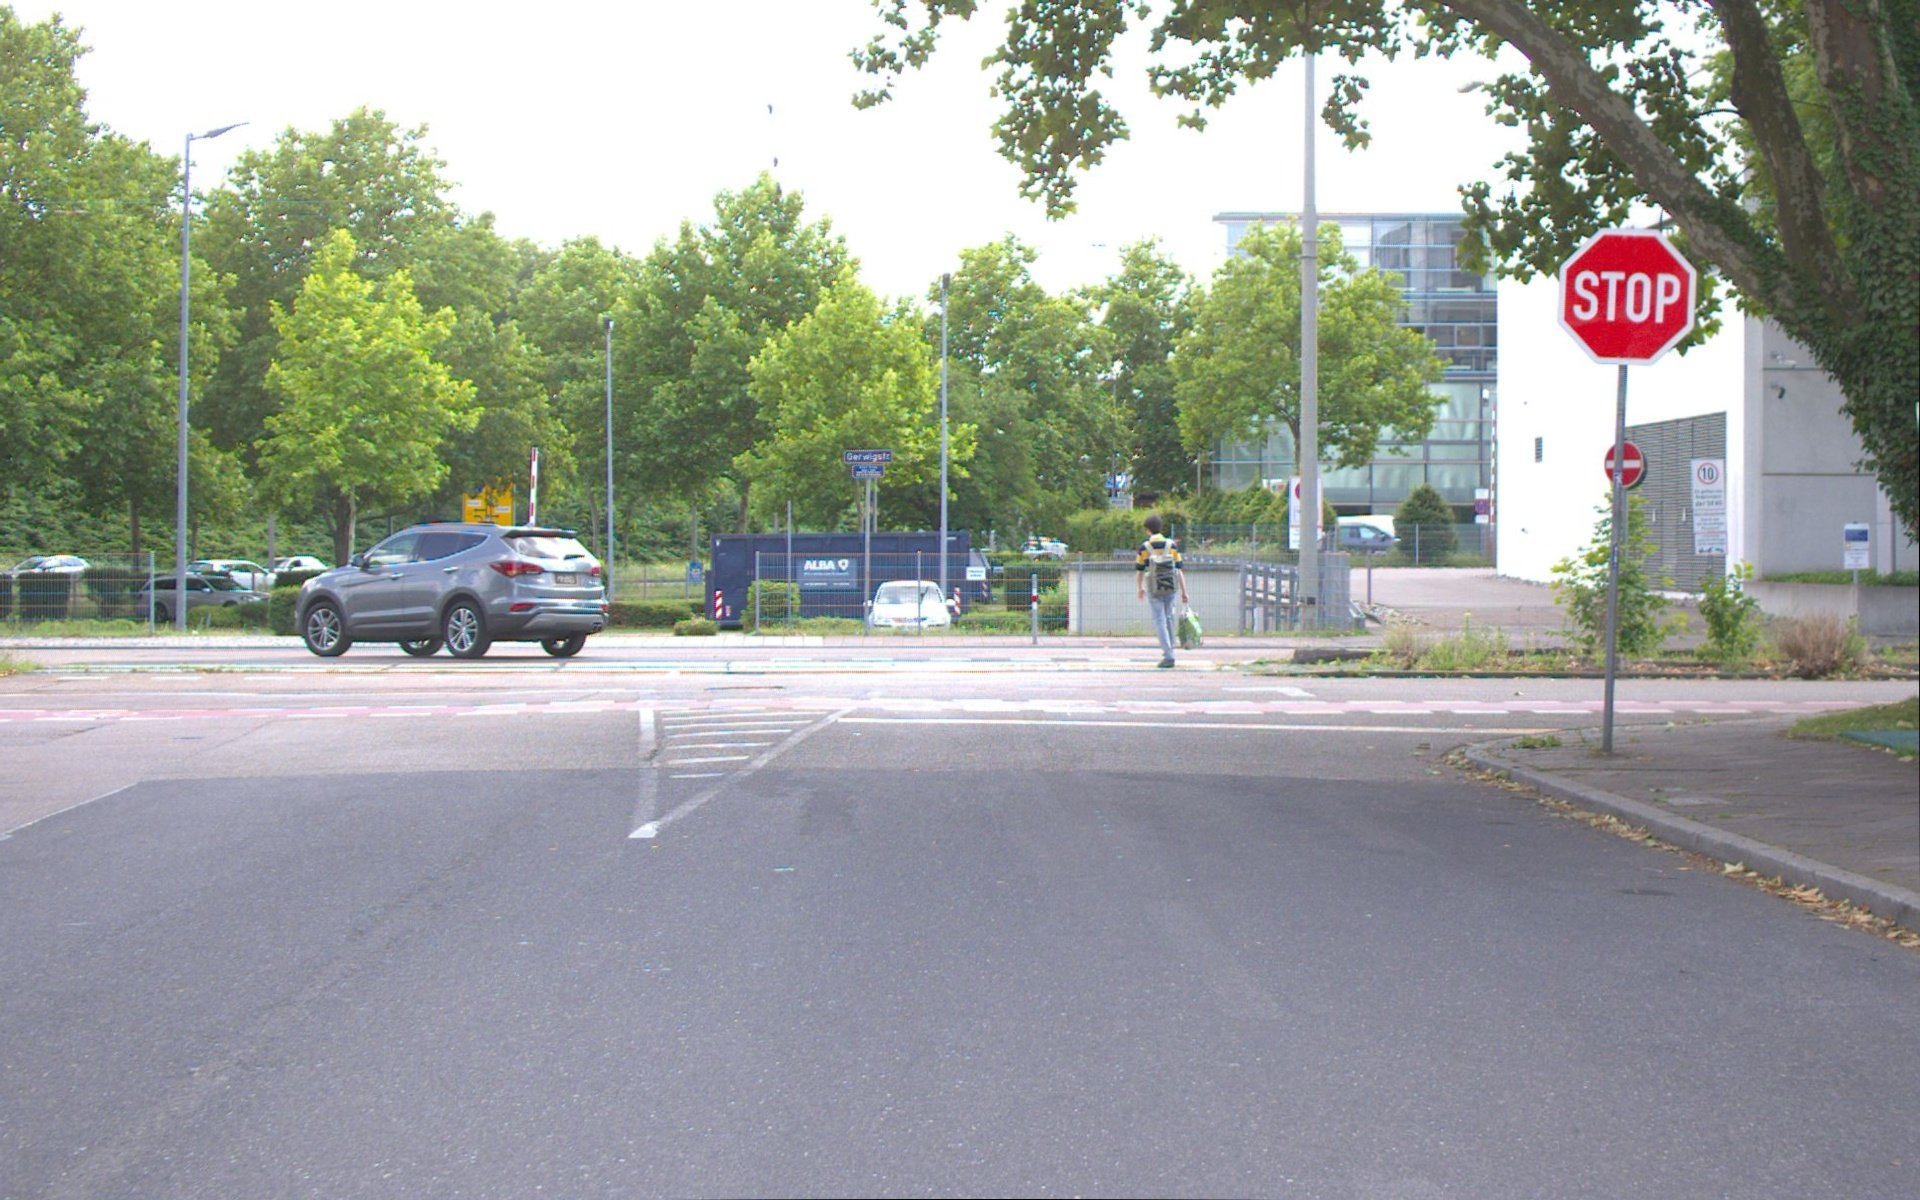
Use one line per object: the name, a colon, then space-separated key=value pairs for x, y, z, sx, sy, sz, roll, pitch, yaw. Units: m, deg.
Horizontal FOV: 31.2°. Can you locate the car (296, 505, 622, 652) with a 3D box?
car: x=-6.494 y=-0.318 z=44.297 sx=4.272 sy=1.809 sz=1.963 roll=1 pitch=2 yaw=44

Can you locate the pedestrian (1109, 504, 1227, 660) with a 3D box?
pedestrian: x=2.492 y=-0.218 z=41.295 sx=1.000 sy=1.843 sz=1.230 roll=0 pitch=1 yaw=-19

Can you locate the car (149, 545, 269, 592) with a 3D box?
car: x=-27.840 y=-1.175 z=127.534 sx=1.917 sy=1.715 sz=4.292 roll=1 pitch=1 yaw=31

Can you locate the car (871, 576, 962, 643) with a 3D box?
car: x=-0.931 y=0.180 z=74.364 sx=1.931 sy=1.398 sz=4.081 roll=0 pitch=1 yaw=0
